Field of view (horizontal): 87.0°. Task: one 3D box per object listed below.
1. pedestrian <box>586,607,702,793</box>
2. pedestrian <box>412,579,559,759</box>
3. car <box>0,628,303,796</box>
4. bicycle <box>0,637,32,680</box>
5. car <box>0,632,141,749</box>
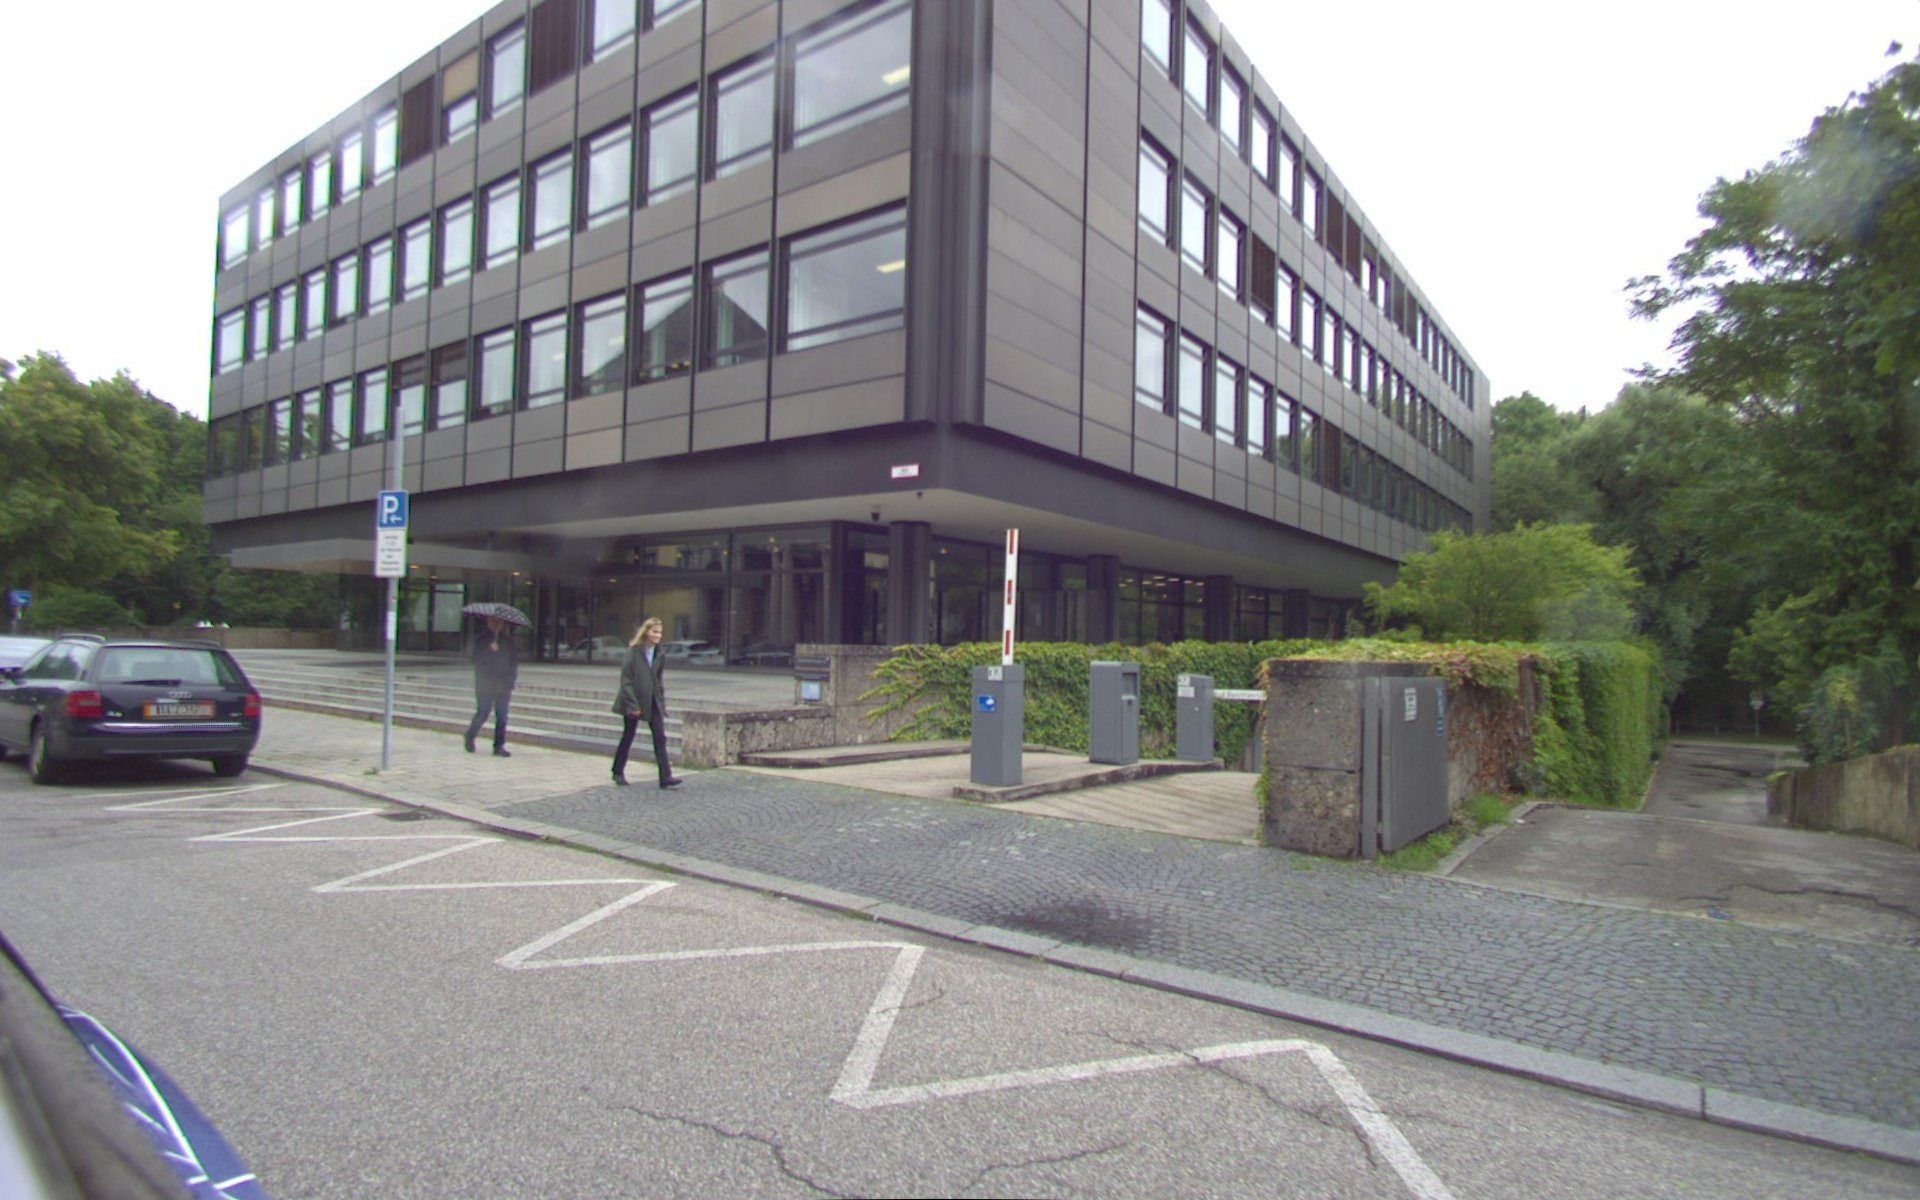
[{"bbox_3d":[-3.191,0.955,10.215,0.953,1.762,0.744,-1,-1,43],"label":"pedestrian"},{"bbox_3d":[-5.854,0.835,12.505,1.219,2.070,1.125,-1,-4,36],"label":"pedestrian"},{"bbox_3d":[-9.524,1.115,11.453,4.876,1.502,1.974,-1,-4,38],"label":"car"},{"bbox_3d":[-27.185,1.668,28.968,1.524,1.173,0.637,-1,-1,36],"label":"bicycle"},{"bbox_3d":[-13.809,1.191,14.491,4.907,1.450,1.906,0,-4,35],"label":"car"}]
